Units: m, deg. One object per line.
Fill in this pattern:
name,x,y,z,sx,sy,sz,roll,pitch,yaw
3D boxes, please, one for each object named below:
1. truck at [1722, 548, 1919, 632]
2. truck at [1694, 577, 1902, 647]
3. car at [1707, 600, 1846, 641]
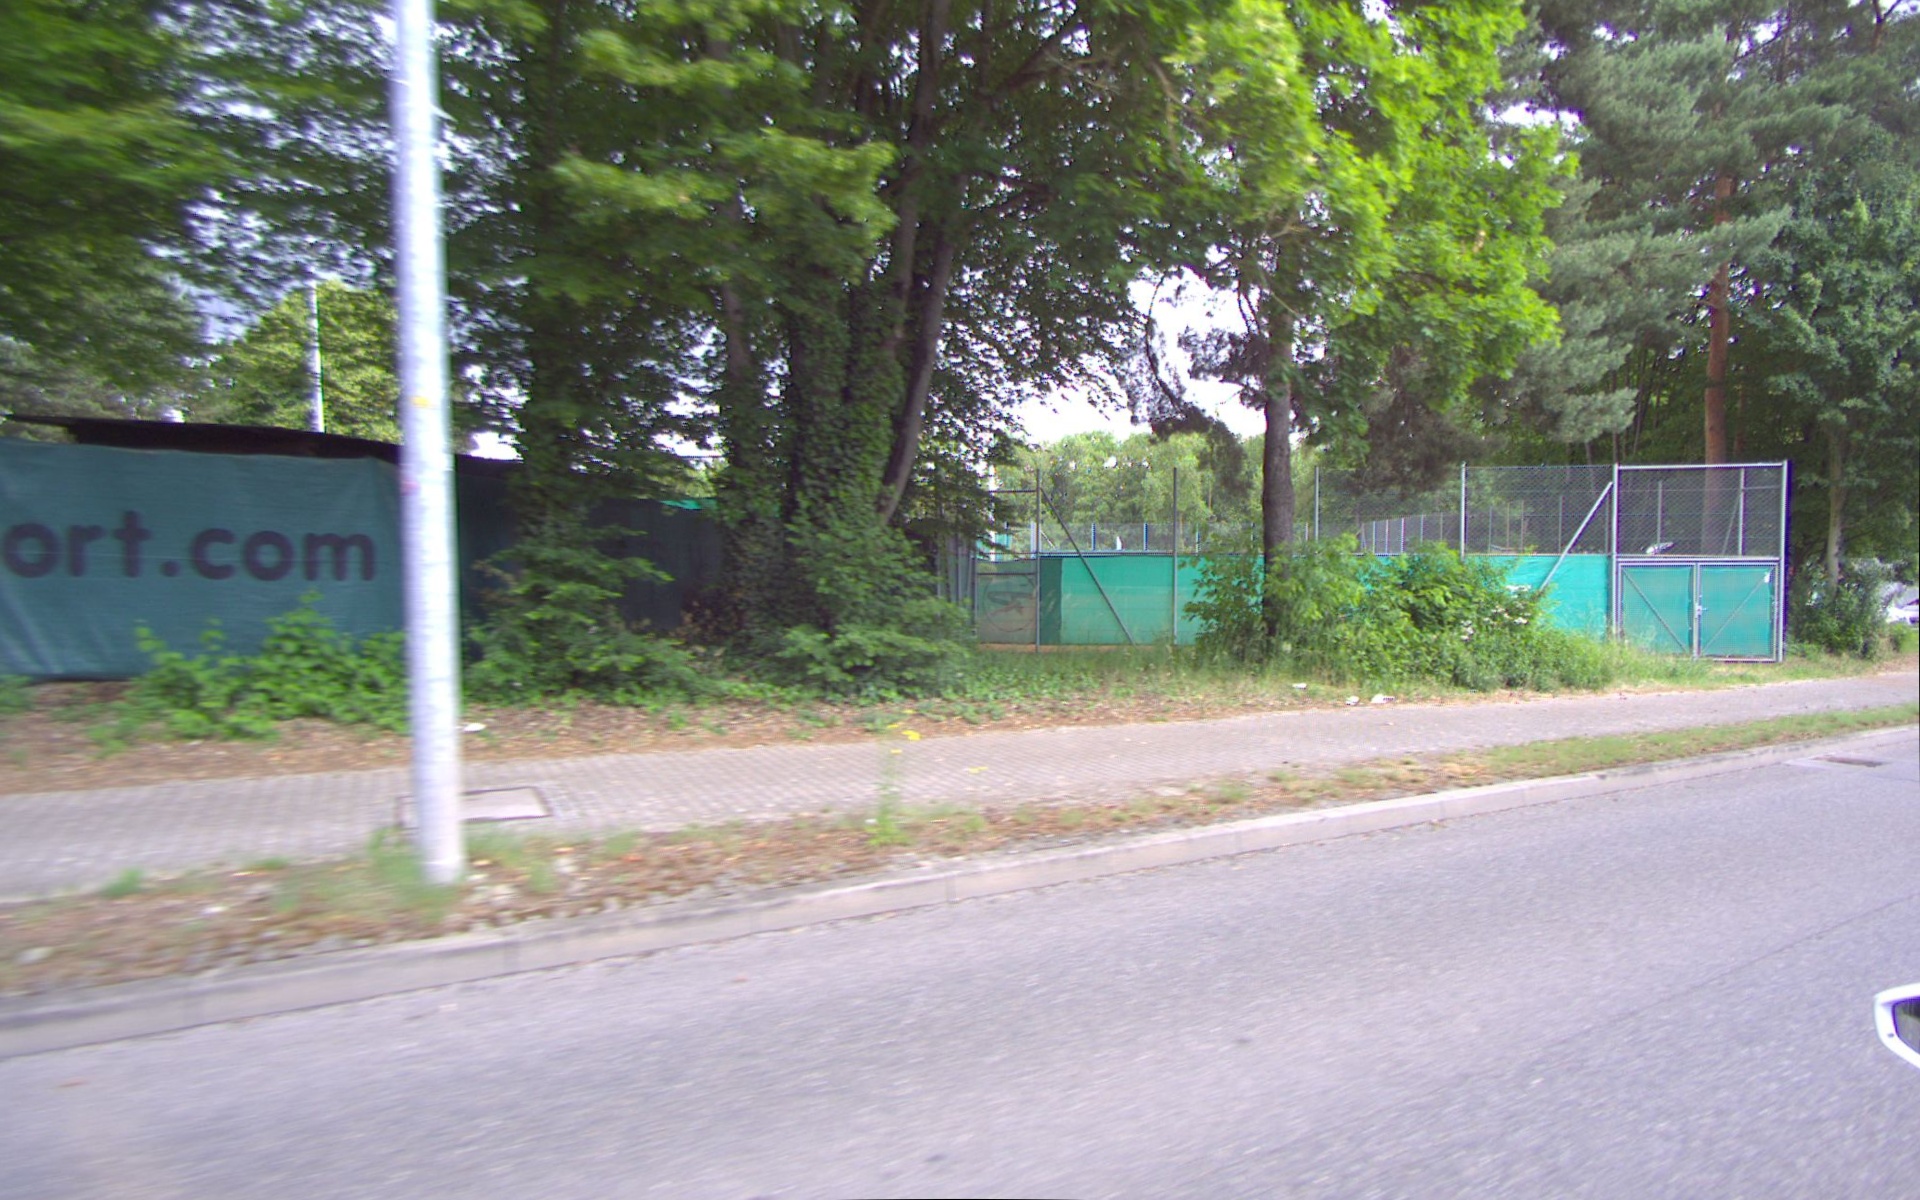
truck,40.108,-0.484,45.080,9.130,3.579,2.550,2,1,43
truck,34.260,0.438,41.313,6.311,2.448,2.113,4,1,41
car,30.975,0.769,38.240,3.934,1.344,1.712,2,-1,35
